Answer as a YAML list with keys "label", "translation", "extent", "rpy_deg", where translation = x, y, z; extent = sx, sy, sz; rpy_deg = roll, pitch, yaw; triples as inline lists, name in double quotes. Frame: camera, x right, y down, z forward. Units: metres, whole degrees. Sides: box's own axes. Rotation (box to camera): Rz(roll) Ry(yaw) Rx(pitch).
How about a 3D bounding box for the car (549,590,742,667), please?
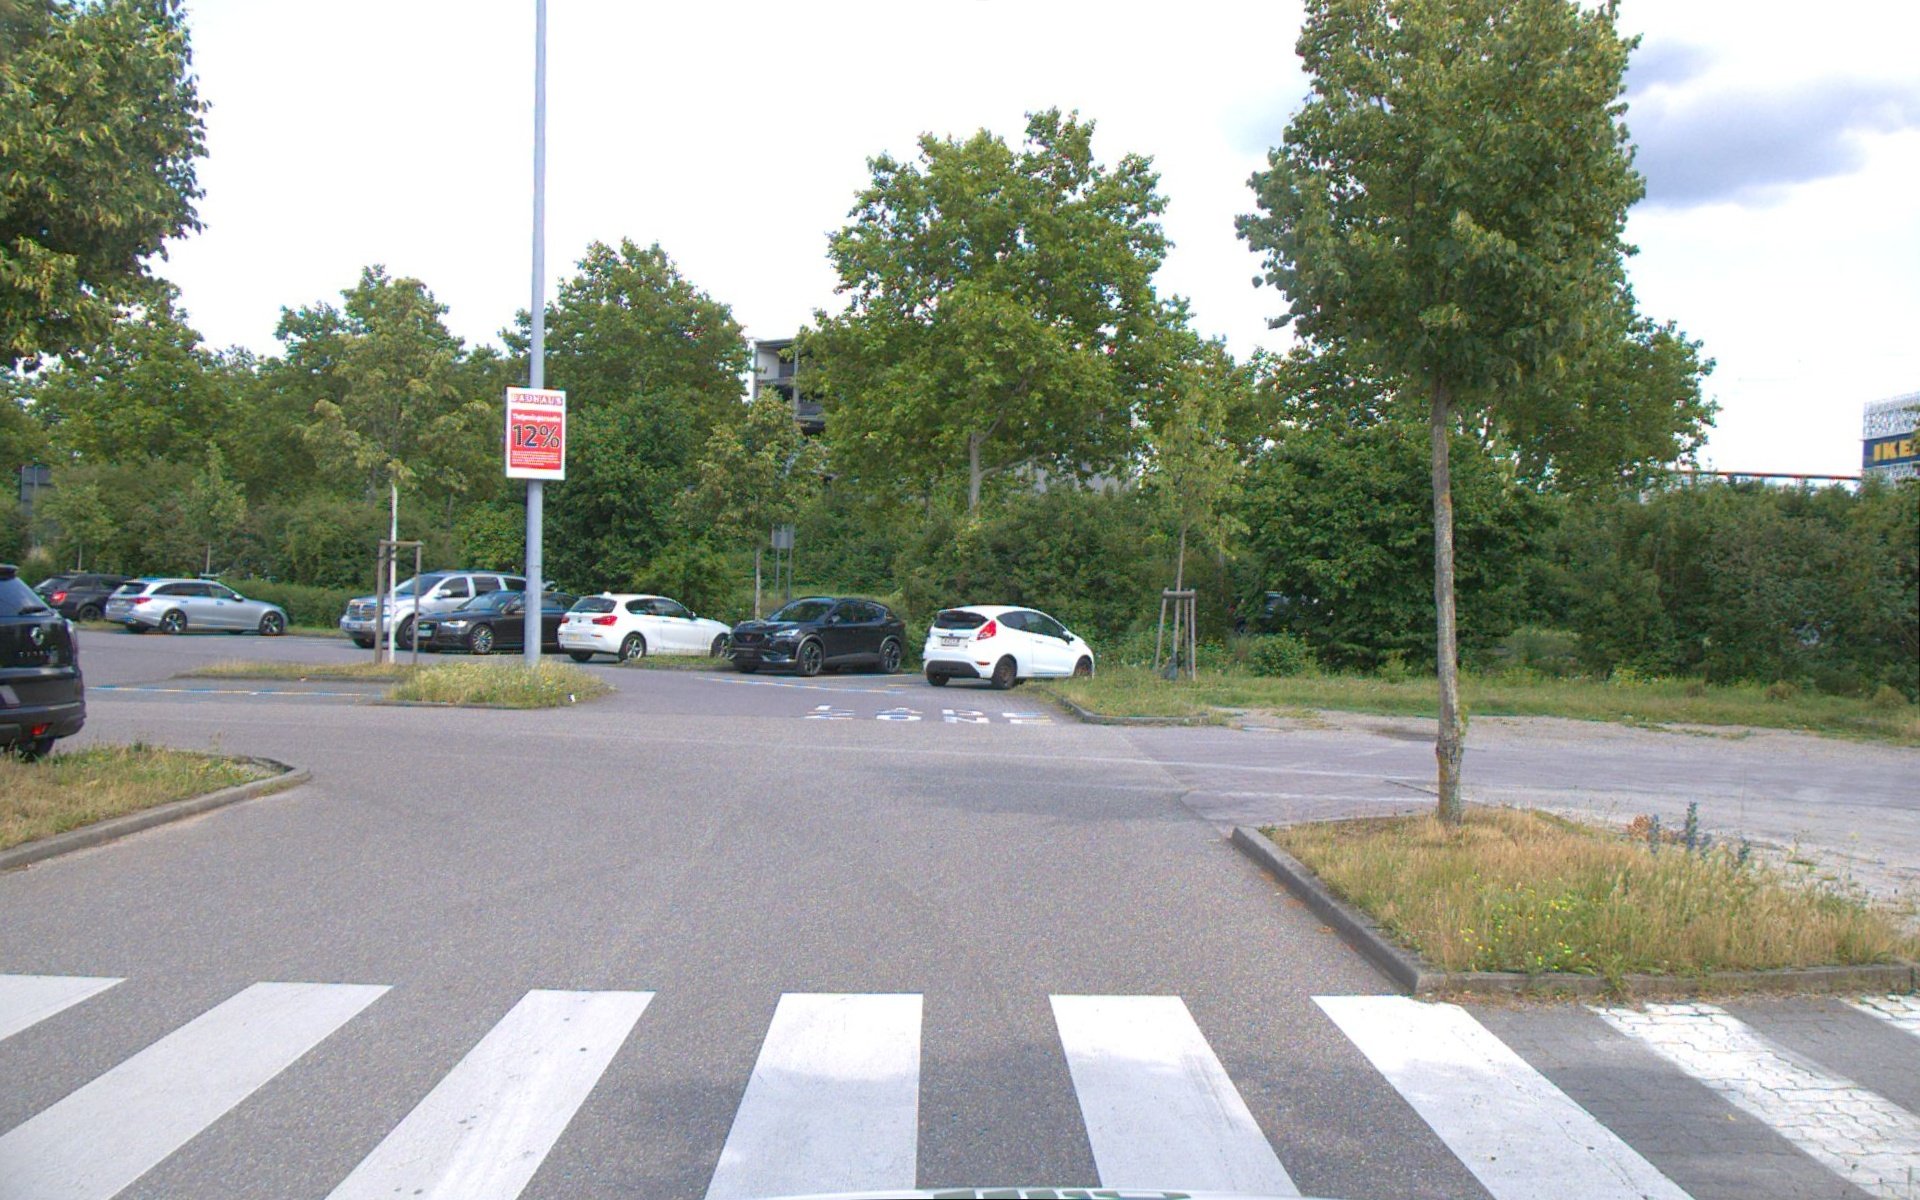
- label: "car"
  translation: [-6.692, 0.601, 35.578]
  extent: [1.657, 1.536, 4.066]
  rpy_deg: [0, 0, 36]

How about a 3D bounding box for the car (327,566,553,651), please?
- label: "car"
  translation: [-12.409, 0.211, 39.837]
  extent: [1.948, 1.875, 5.135]
  rpy_deg: [2, 0, 32]

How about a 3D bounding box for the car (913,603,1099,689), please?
- label: "car"
  translation: [0.895, 0.807, 30.290]
  extent: [1.638, 1.436, 3.541]
  rpy_deg: [2, 0, 38]

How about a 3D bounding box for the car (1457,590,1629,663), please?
- label: "car"
  translation: [15.280, 0.678, 43.410]
  extent: [3.915, 1.745, 1.995]
  rpy_deg: [2, 0, 32]

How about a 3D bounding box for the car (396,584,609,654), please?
- label: "car"
  translation: [-10.498, 0.438, 38.318]
  extent: [1.802, 1.476, 4.709]
  rpy_deg: [2, 0, 34]

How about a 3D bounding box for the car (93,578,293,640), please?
- label: "car"
  translation: [-20.401, 0.256, 44.189]
  extent: [1.747, 1.531, 4.641]
  rpy_deg: [2, 0, 32]

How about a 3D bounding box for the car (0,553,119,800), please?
- label: "car"
  translation: [-8.332, 0.454, 11.663]
  extent: [3.869, 1.653, 1.736]
  rpy_deg: [2, 0, 1]

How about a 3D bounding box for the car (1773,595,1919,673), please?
- label: "car"
  translation: [21.927, 0.804, 39.952]
  extent: [3.915, 1.745, 1.995]
  rpy_deg: [2, 0, 32]

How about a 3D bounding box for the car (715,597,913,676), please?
- label: "car"
  translation: [-2.844, 0.695, 33.107]
  extent: [1.697, 1.435, 4.230]
  rpy_deg: [2, 0, 33]
